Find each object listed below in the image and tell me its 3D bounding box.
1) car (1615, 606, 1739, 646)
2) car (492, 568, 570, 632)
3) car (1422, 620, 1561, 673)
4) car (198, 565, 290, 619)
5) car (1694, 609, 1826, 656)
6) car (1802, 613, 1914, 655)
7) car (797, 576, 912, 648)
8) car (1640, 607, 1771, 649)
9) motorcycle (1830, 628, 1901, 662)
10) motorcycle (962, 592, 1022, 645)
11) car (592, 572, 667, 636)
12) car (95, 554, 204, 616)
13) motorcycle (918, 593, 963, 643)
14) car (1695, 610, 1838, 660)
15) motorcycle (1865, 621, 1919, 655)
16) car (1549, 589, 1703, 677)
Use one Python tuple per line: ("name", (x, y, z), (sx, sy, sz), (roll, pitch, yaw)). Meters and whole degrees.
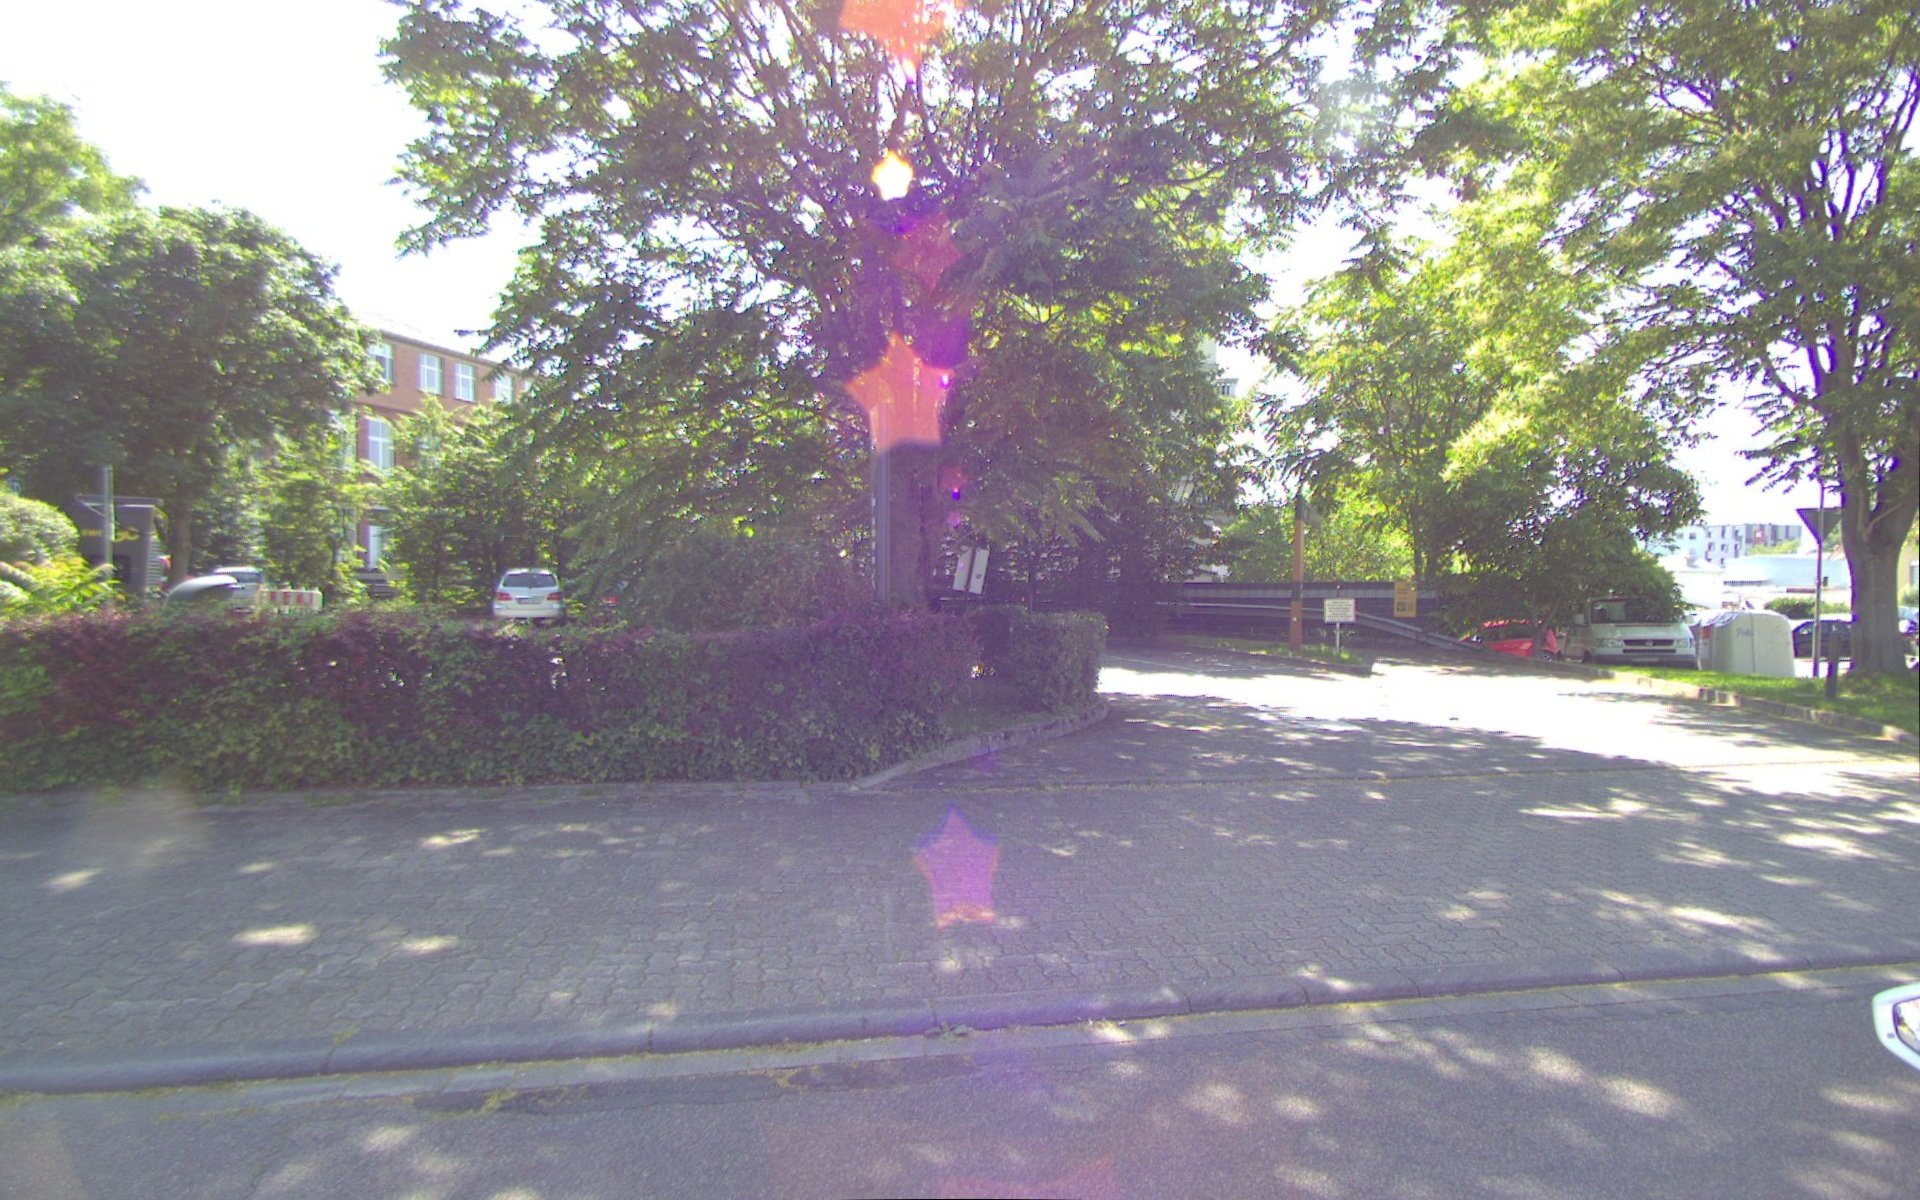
("car", (35.689, 1.281, 50.098), (4.560, 1.748, 2.001), (2, 1, 6))
("car", (-11.654, -0.062, 27.462), (1.747, 1.593, 3.980), (0, 2, -20))
("car", (15.599, 1.337, 29.644), (3.346, 1.397, 1.487), (0, 2, 14))
("car", (-21.727, -0.303, 30.615), (1.752, 1.495, 3.970), (-1, 3, -28))
("car", (34.057, 1.349, 42.860), (3.919, 1.748, 2.001), (2, 1, 5))
("car", (39.148, 1.448, 43.934), (1.960, 1.606, 4.001), (2, 1, 15))
("car", (-2.608, 0.214, 24.000), (1.638, 1.490, 3.881), (-1, 3, -24))
("car", (35.323, 1.309, 47.698), (4.560, 1.748, 2.001), (2, 1, 6))
("motorcycle", (34.877, 1.708, 38.728), (1.839, 1.174, 0.789), (2, 1, 25))
("motorcycle", (0.758, 0.425, 23.923), (0.565, 1.185, 1.588), (-1, 2, -37))
("car", (-8.796, 0.041, 26.695), (1.746, 1.490, 3.982), (0, 3, -19))
("car", (-25.124, -0.536, 31.284), (1.751, 1.758, 3.972), (-2, 3, -27))
("motorcycle", (-0.486, 0.418, 24.558), (0.468, 1.156, 1.594), (0, 2, -27))
("car", (32.119, 1.374, 40.140), (3.919, 1.729, 2.001), (2, 1, 12))
("motorcycle", (38.059, 1.548, 40.161), (2.664, 1.243, 1.000), (2, 1, 5))
("car", (14.471, 0.613, 22.138), (1.920, 1.604, 5.027), (2, 2, 24))
